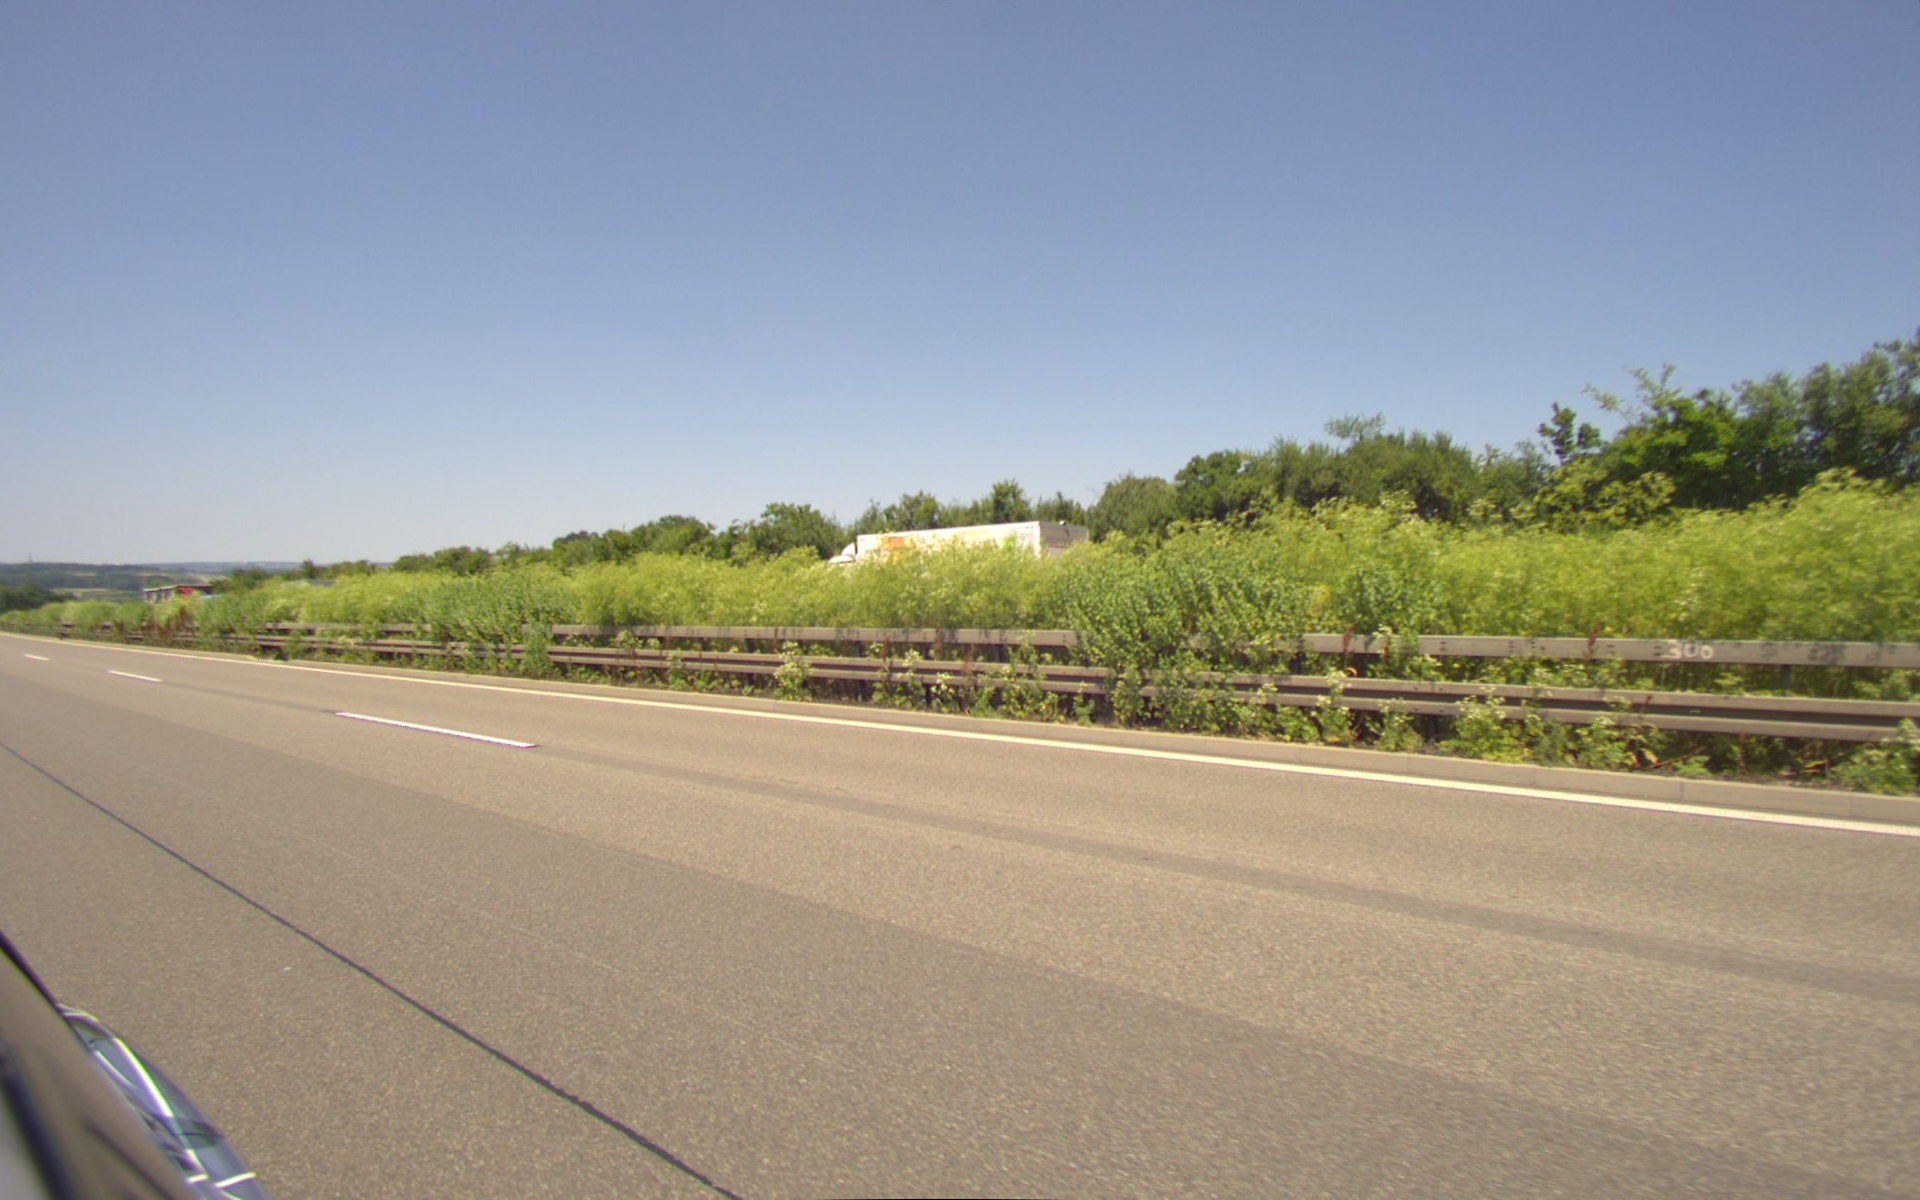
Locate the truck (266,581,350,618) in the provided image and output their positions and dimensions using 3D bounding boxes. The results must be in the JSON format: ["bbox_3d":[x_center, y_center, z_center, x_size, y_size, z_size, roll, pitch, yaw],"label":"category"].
[{"bbox_3d":[-39.787,0.022,61.649,6.792,2.029,2.466,-2,-2,40],"label":"truck"}]

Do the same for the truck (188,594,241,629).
[{"bbox_3d":[-45.347,0.743,61.562,3.999,2.029,1.835,-2,-2,42],"label":"truck"}]

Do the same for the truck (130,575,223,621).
[{"bbox_3d":[-72.094,-0.074,92.828,18.523,3.638,3.196,-2,1,42],"label":"truck"}]

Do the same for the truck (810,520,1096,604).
[{"bbox_3d":[-0.553,-1.022,31.897,9.854,2.029,2.625,-2,-2,42],"label":"truck"}]
